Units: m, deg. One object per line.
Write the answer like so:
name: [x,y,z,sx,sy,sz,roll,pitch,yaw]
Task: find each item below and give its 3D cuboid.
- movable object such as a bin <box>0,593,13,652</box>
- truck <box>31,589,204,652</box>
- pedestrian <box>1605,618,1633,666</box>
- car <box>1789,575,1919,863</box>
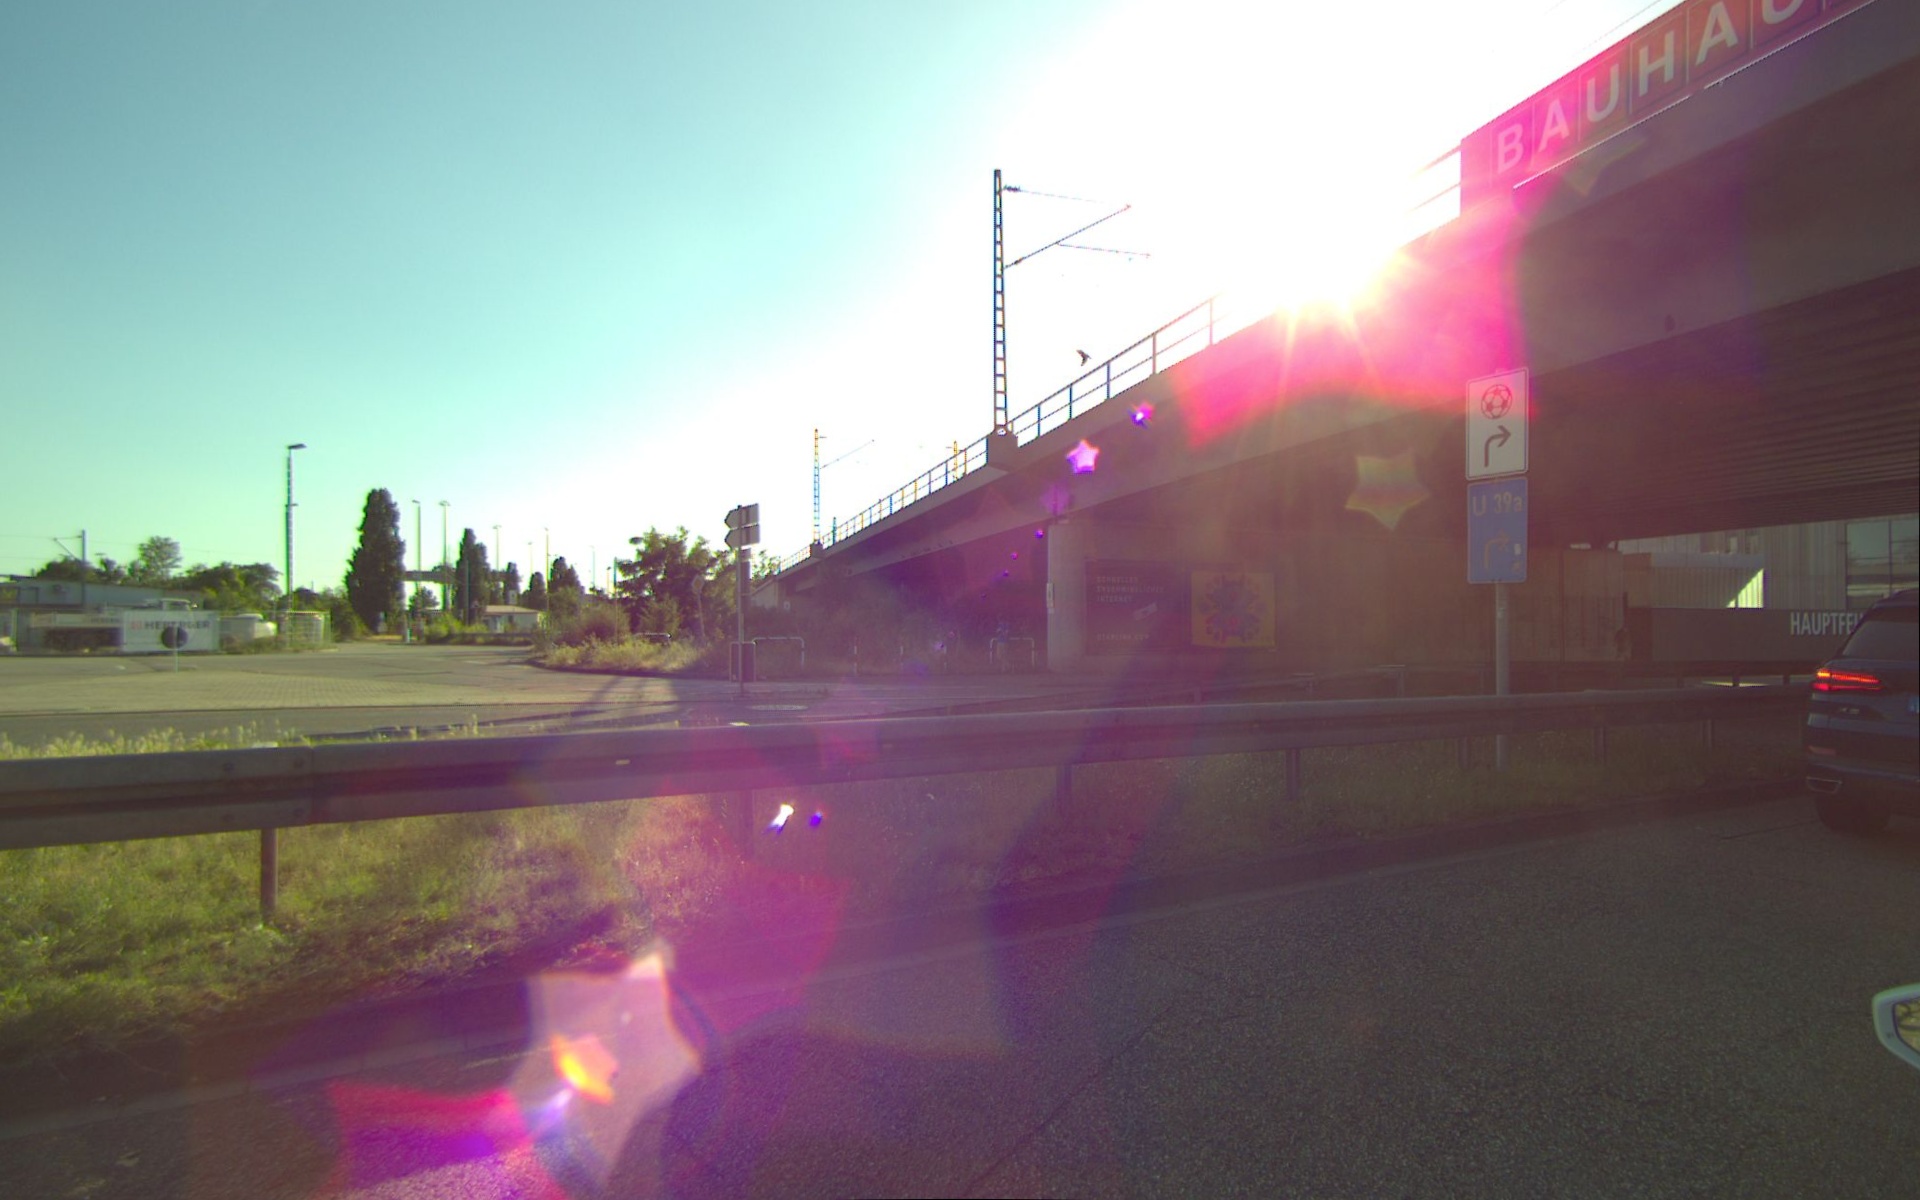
movable object such as a bin: [-45.682,1.015,46.762,2.204,2.751,1.717,2,-2,-43]
truck: [-45.722,1.158,54.804,2.393,3.186,6.774,1,-2,25]
pedestrian: [26.713,1.683,40.720,0.656,1.928,0.692,2,-1,-24]
car: [7.917,0.803,7.017,4.407,1.761,1.821,2,-2,-29]
